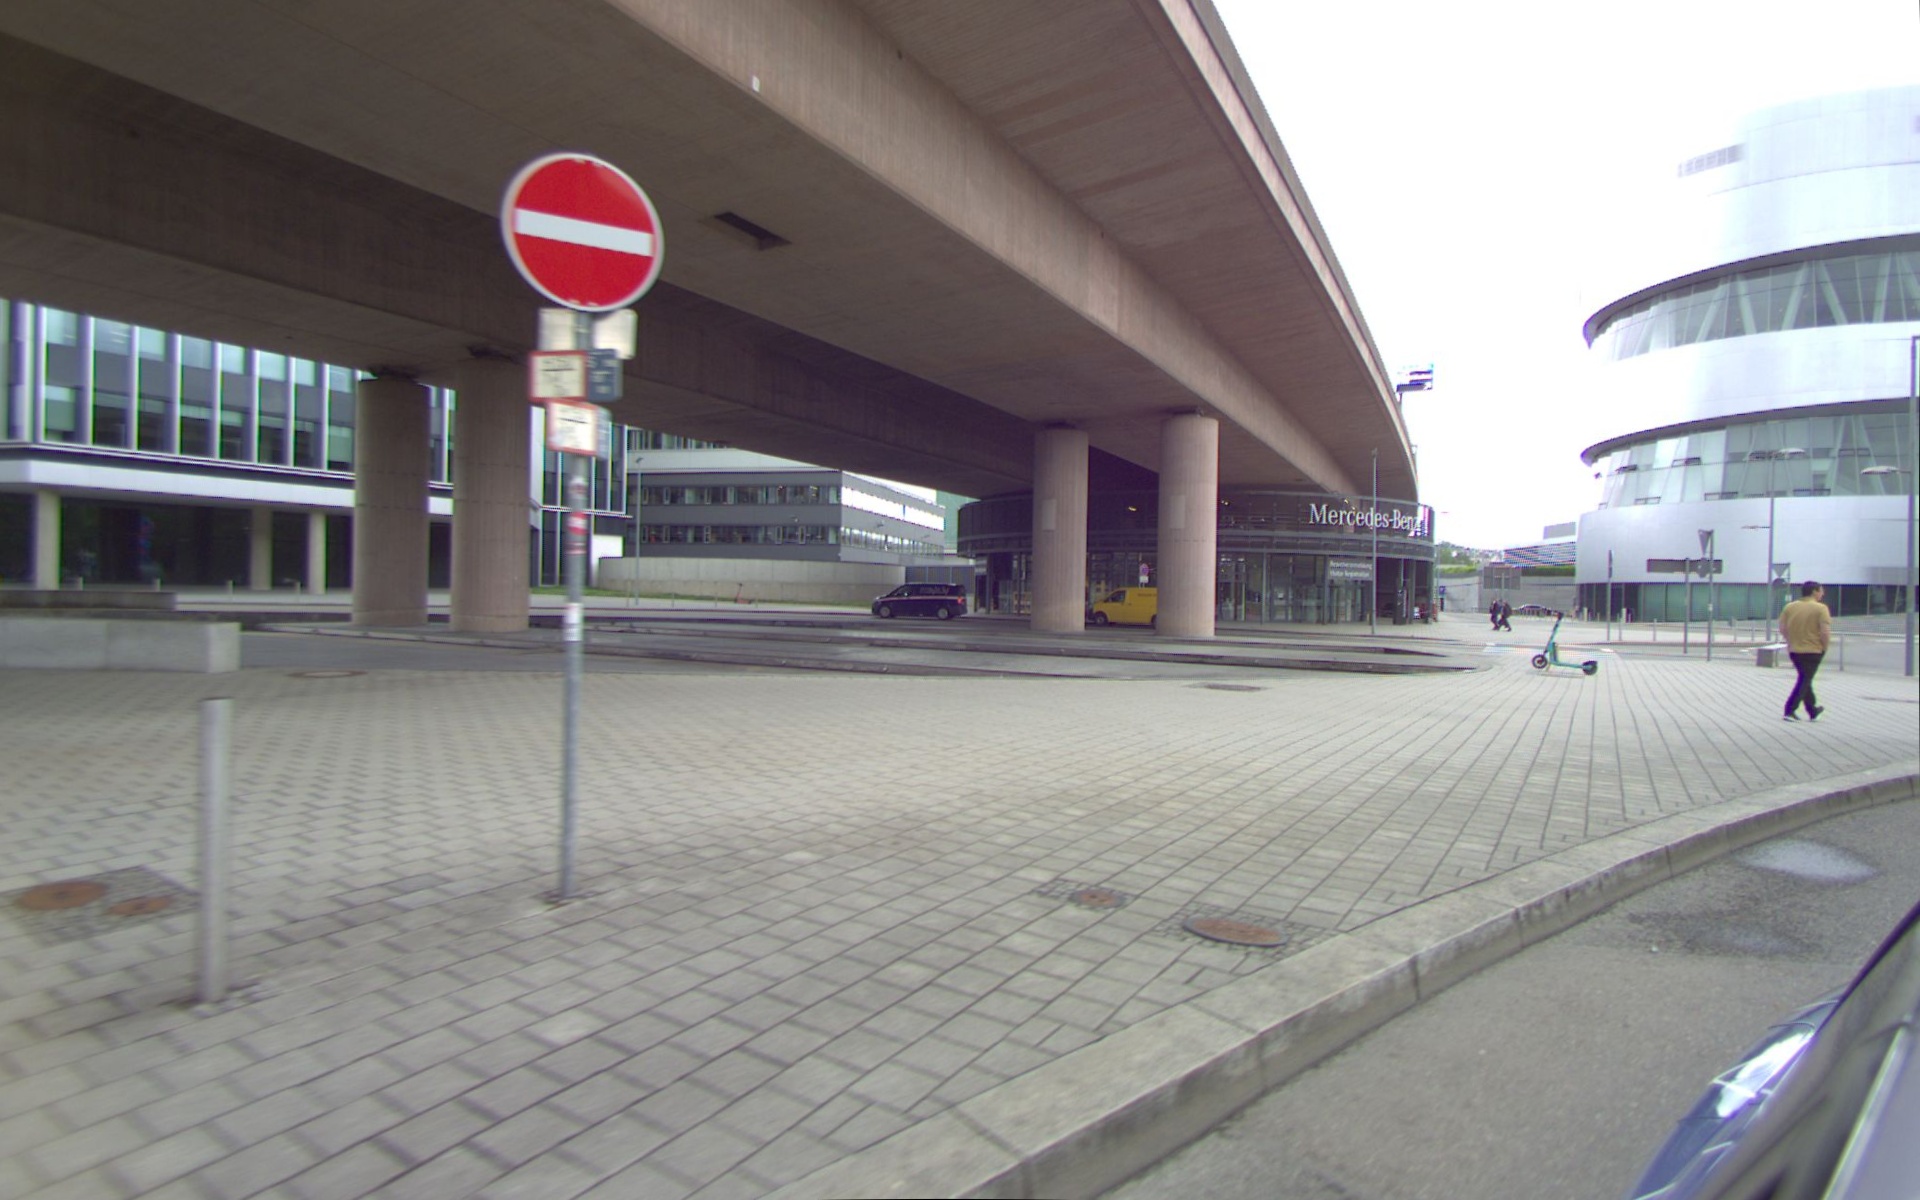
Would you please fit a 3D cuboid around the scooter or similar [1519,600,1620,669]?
[{"bbox_3d":[12.383,0.685,20.604,0.509,1.312,1.647,3,0,-41],"label":"scooter or similar"}]

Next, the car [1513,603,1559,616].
[{"bbox_3d":[71.920,1.143,126.403,4.853,1.416,1.522,2,-1,24],"label":"car"}]

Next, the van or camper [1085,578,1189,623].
[{"bbox_3d":[8.648,0.030,49.534,4.466,2.024,2.338,2,0,29],"label":"van or camper"}]

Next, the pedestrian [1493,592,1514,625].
[{"bbox_3d":[30.319,0.474,56.489,0.772,1.821,0.861,2,-1,15],"label":"pedestrian"}]

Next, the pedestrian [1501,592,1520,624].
[{"bbox_3d":[30.322,0.452,55.723,0.763,1.727,0.782,2,-1,20],"label":"pedestrian"}]

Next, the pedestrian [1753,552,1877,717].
[{"bbox_3d":[10.992,0.442,13.024,1.017,2.039,0.786,3,-1,-20],"label":"pedestrian"}]

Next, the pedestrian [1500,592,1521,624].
[{"bbox_3d":[29.923,0.428,55.027,0.762,1.727,0.861,2,-1,17],"label":"pedestrian"}]

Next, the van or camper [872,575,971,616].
[{"bbox_3d":[-1.989,-0.238,53.204,4.825,1.916,2.147,2,1,12],"label":"van or camper"}]
